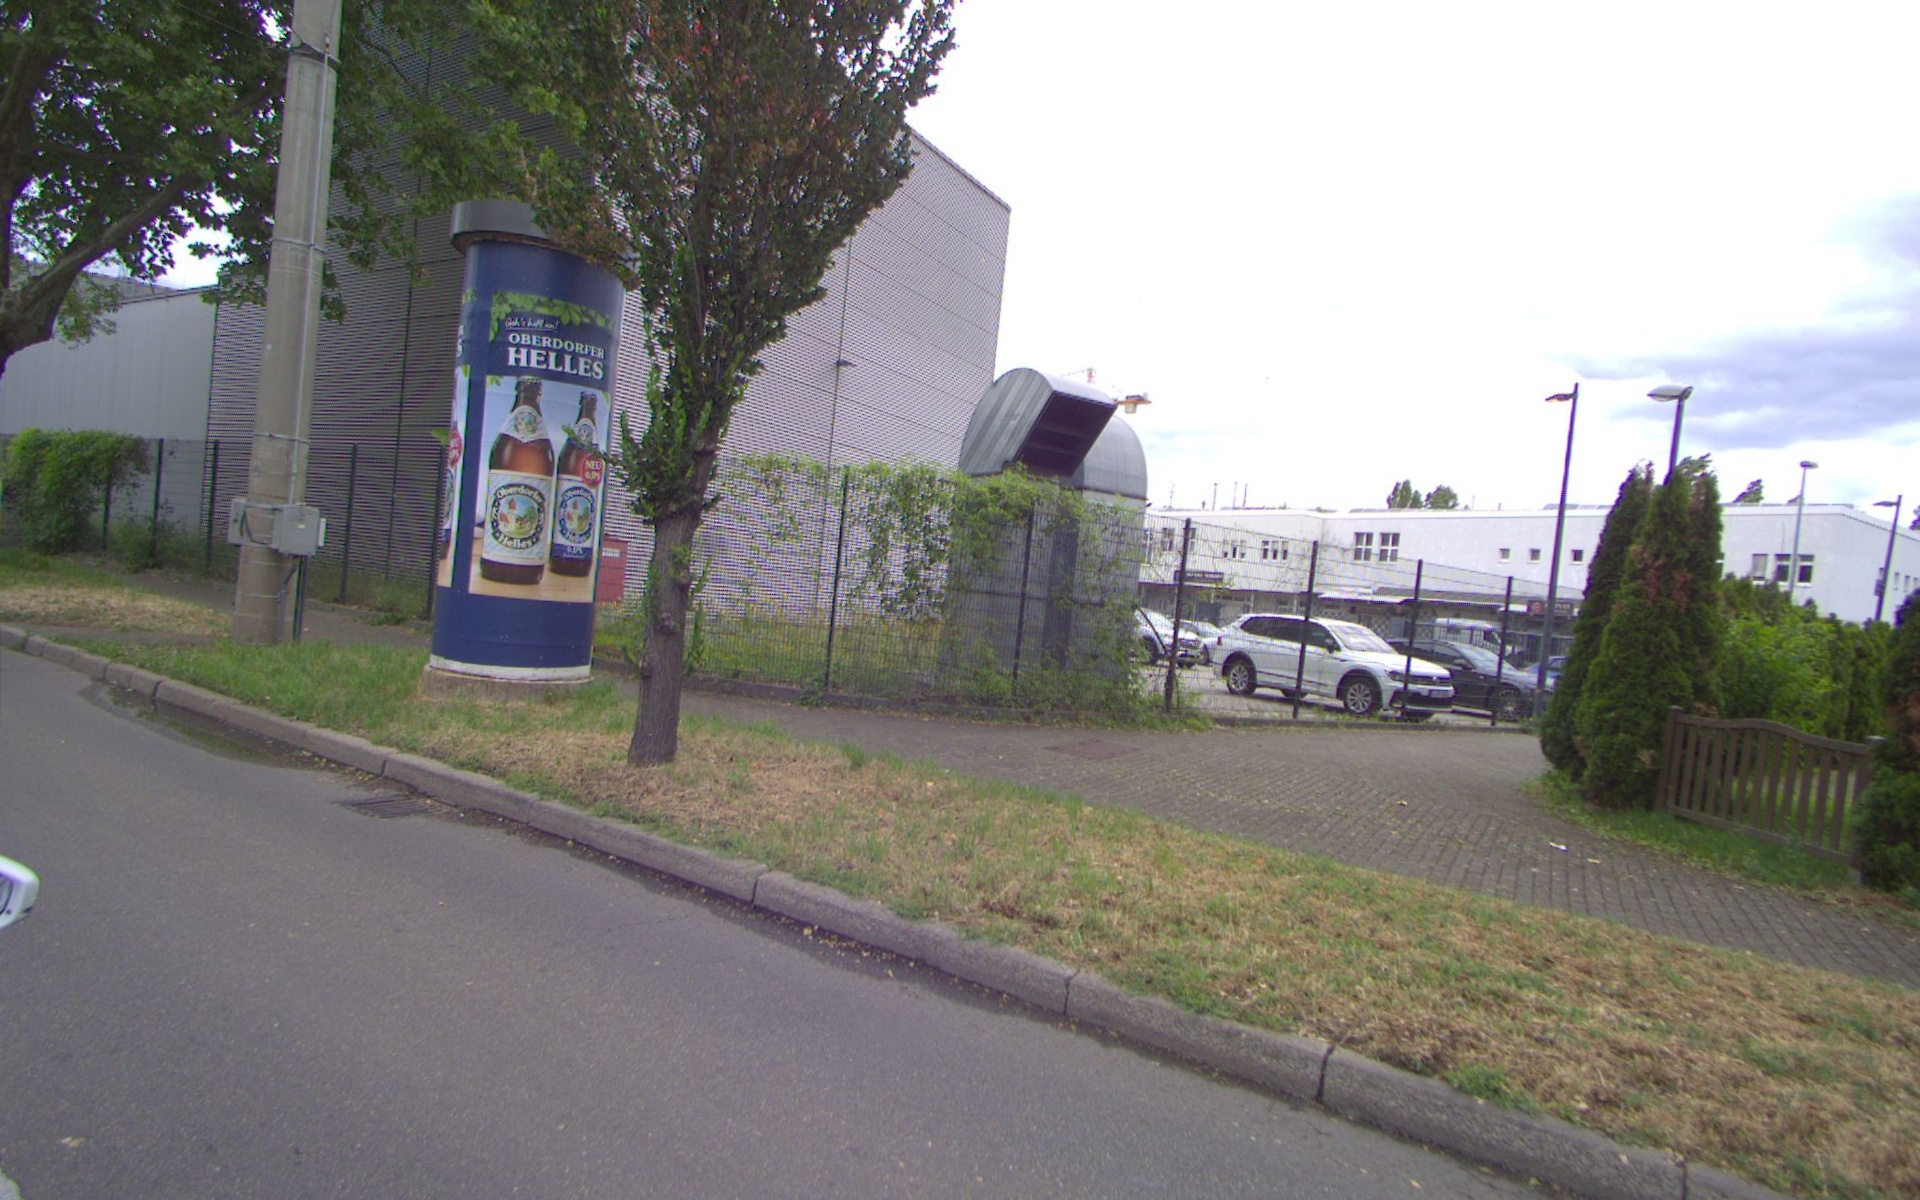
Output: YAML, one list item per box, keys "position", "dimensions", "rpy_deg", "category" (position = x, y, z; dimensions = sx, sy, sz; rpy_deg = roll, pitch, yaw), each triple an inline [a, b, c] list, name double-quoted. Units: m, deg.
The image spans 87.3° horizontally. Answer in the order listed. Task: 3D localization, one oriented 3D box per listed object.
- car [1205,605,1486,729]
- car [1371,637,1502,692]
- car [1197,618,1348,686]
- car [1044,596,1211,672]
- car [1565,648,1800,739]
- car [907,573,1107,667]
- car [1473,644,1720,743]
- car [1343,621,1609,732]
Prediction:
- position: [6.950, 1.165, 18.658]
  dimensions: [1.979, 1.686, 4.464]
  rpy_deg: [6, 1, -31]
  category: "car"
- position: [19.160, 2.574, 40.623]
  dimensions: [1.982, 1.668, 4.233]
  rpy_deg: [8, -2, -34]
  category: "car"
- position: [10.029, 1.650, 32.594]
  dimensions: [1.982, 1.668, 4.233]
  rpy_deg: [8, -2, -34]
  category: "car"
- position: [4.849, 0.962, 29.593]
  dimensions: [4.418, 1.687, 1.999]
  rpy_deg: [6, 1, -1]
  category: "car"
- position: [18.751, 2.380, 26.324]
  dimensions: [1.979, 1.686, 4.464]
  rpy_deg: [6, 1, -31]
  category: "car"
- position: [1.122, 0.470, 24.235]
  dimensions: [4.197, 1.668, 1.999]
  rpy_deg: [6, -2, 29]
  category: "car"
- position: [15.083, 2.170, 24.101]
  dimensions: [1.979, 1.686, 4.464]
  rpy_deg: [6, 1, -31]
  category: "car"
- position: [10.615, 1.529, 21.064]
  dimensions: [1.979, 1.686, 4.464]
  rpy_deg: [6, 1, -31]
  category: "car"
